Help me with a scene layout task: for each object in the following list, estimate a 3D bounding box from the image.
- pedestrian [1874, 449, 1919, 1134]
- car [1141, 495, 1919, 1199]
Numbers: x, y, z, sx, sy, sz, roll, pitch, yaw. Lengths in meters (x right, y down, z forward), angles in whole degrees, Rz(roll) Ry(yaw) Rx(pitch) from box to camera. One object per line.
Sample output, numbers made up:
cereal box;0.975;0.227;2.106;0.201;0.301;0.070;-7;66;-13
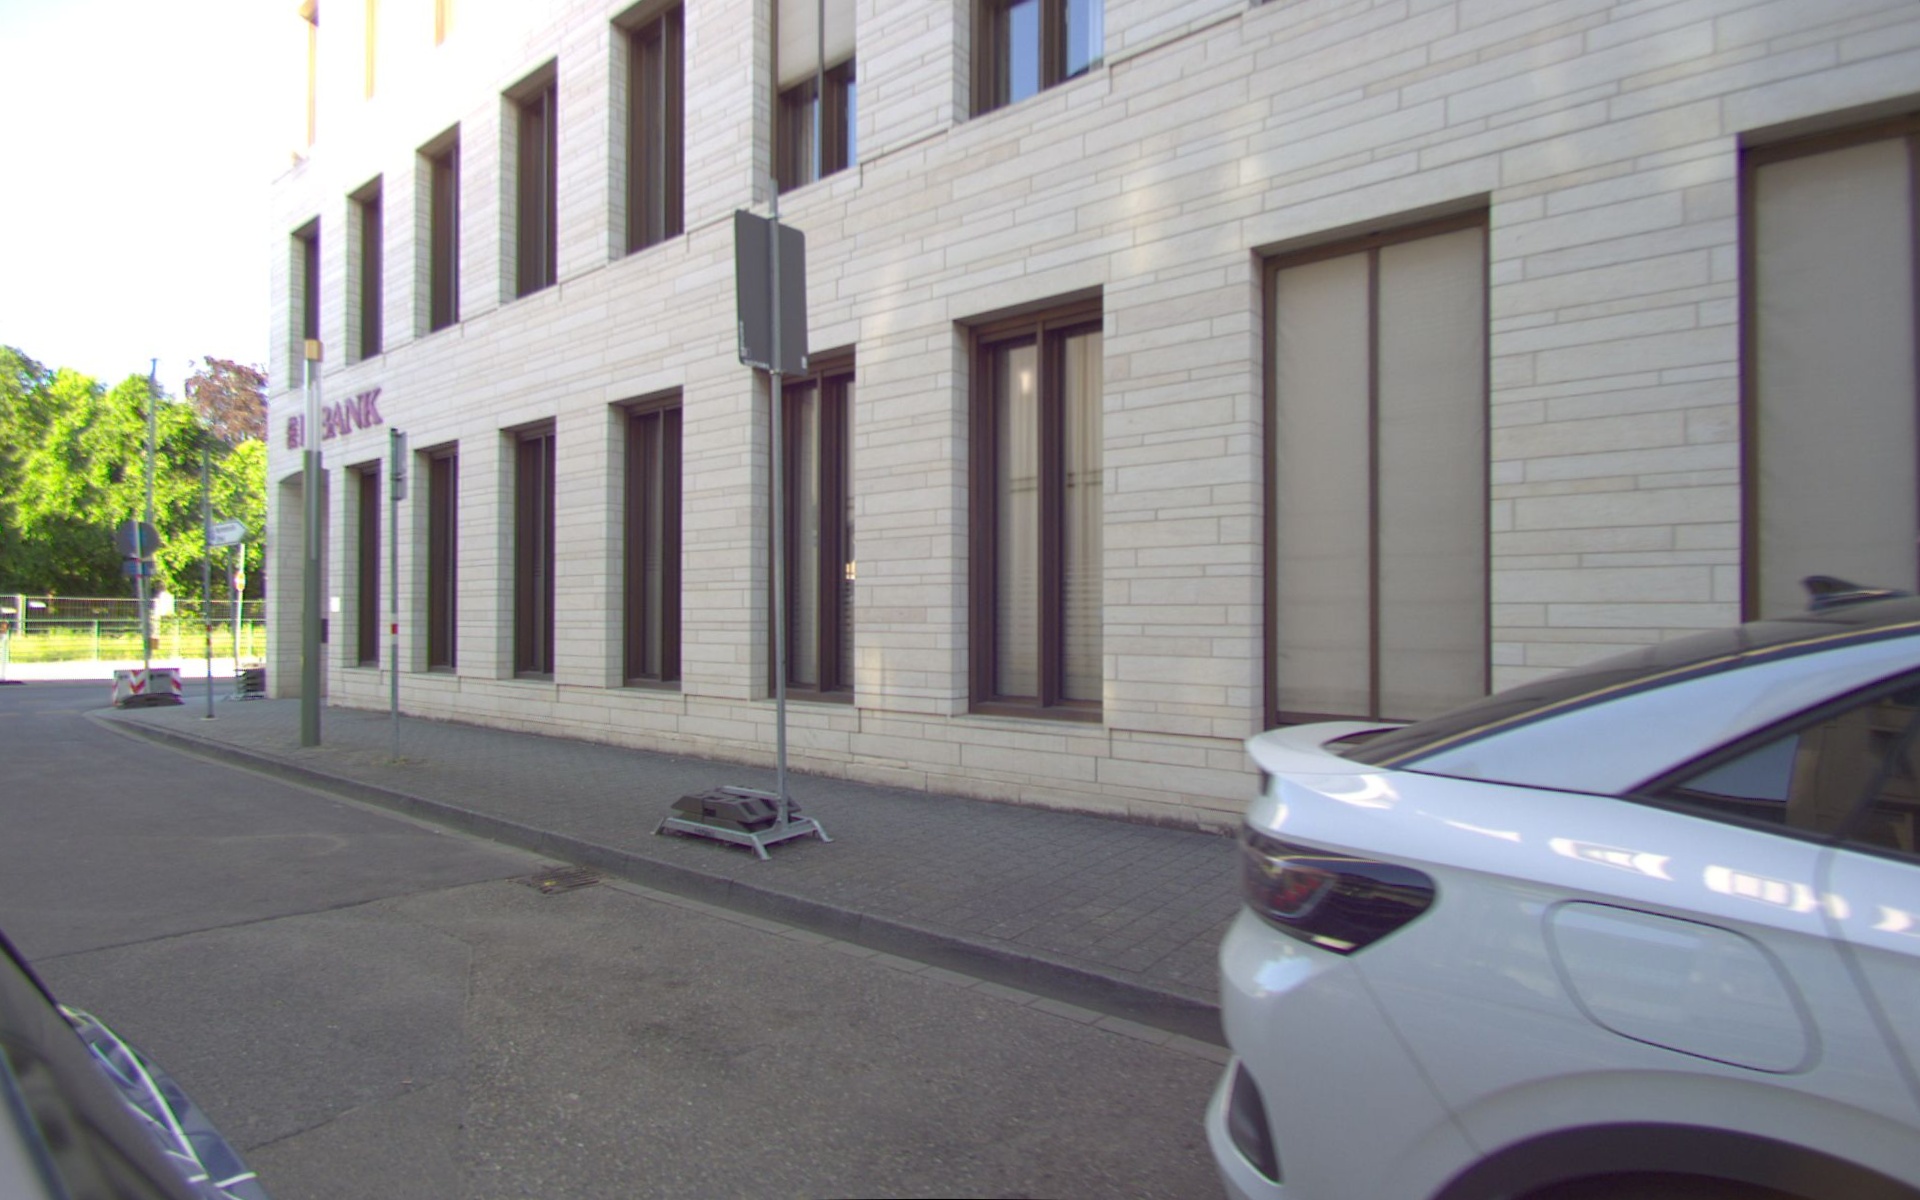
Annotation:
pedestrian;2.912;0.504;2.761;0.575;1.803;0.635;0;-1;39
car;2.605;0.618;1.023;4.442;1.553;1.804;-2;0;40
